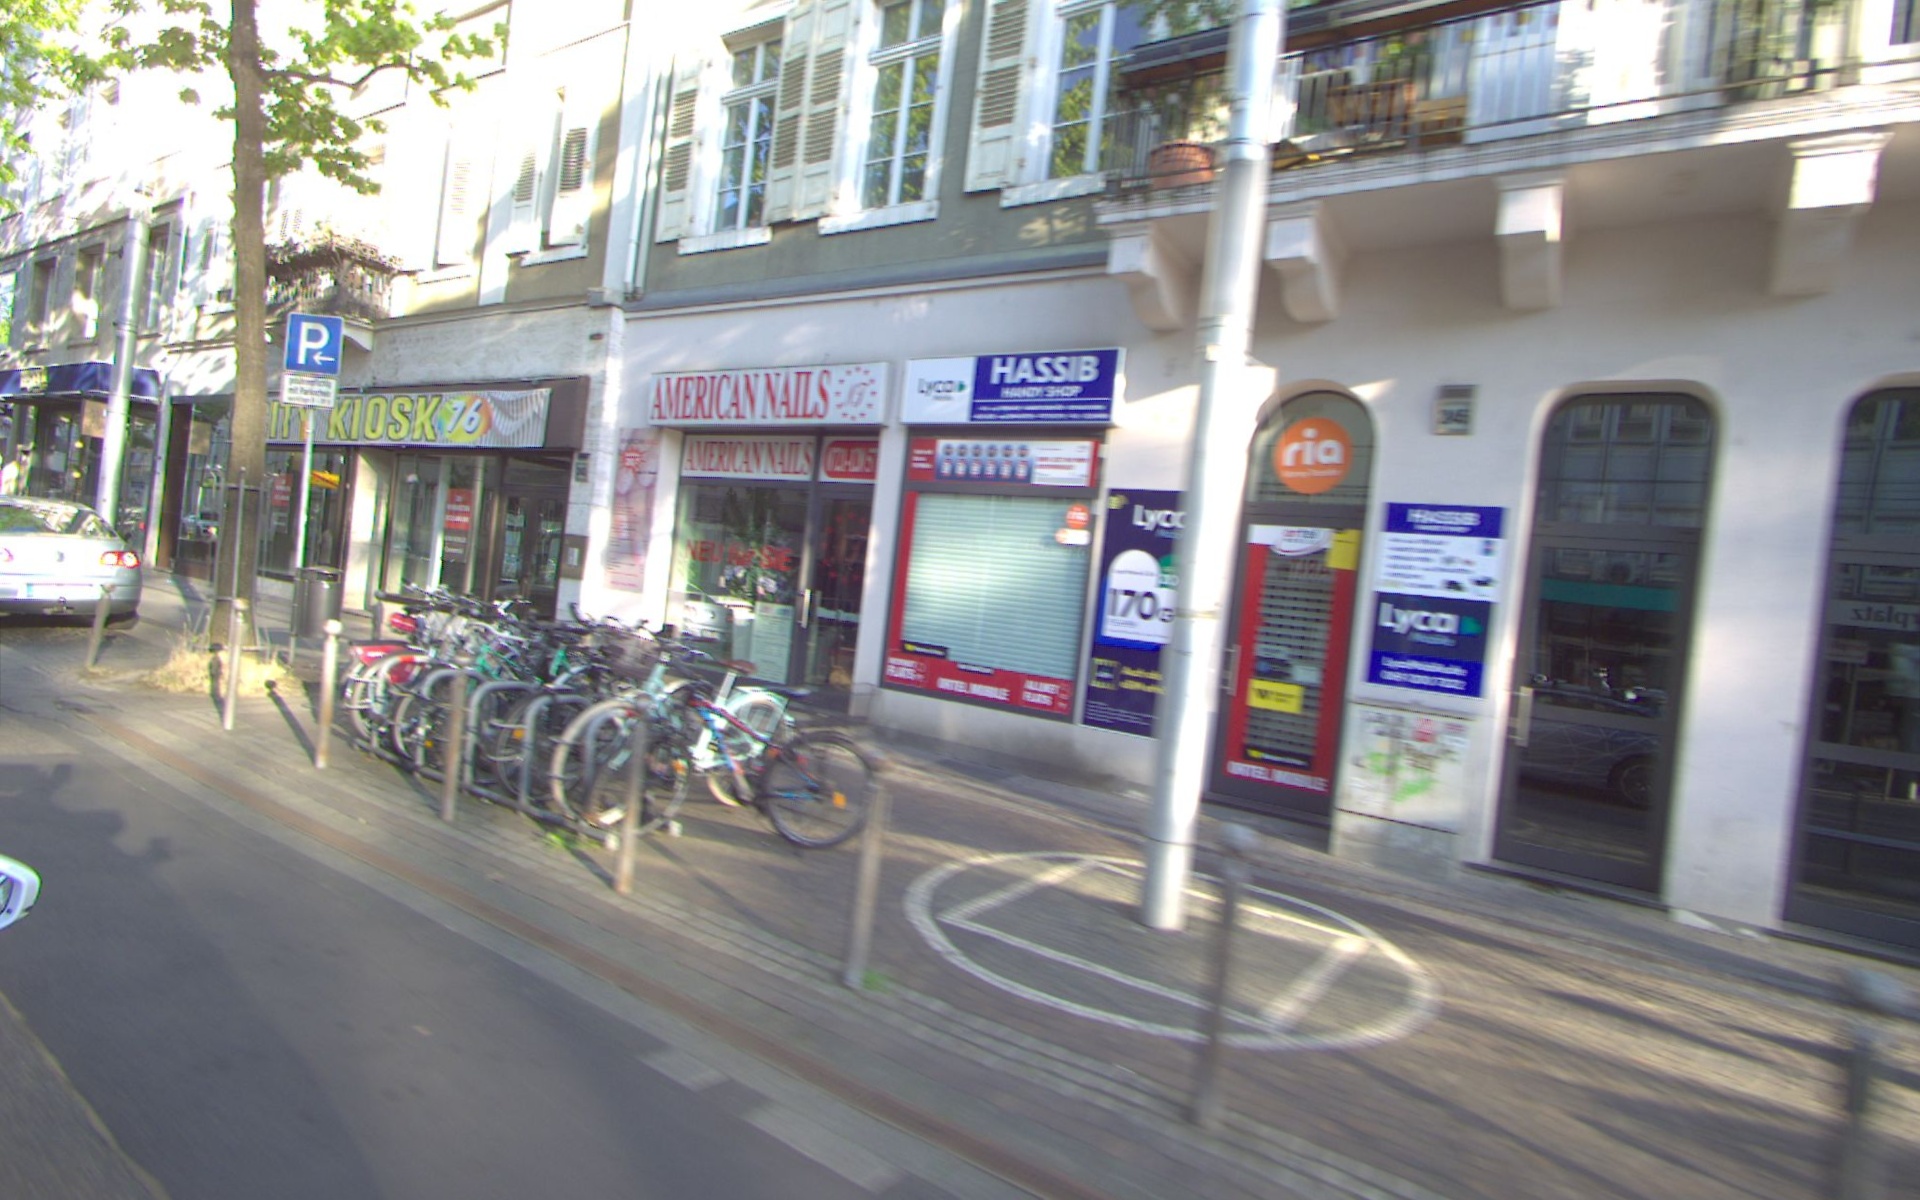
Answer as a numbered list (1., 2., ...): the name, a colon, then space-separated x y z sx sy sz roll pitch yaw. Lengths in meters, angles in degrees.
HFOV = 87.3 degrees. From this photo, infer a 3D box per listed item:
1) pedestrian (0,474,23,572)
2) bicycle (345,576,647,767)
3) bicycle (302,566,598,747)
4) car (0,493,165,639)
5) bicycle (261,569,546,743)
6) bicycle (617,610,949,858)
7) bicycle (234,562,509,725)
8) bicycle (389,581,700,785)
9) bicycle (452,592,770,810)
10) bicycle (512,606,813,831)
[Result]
1. pedestrian: -16.837 -1.363 17.336 0.743 1.665 0.802 8 3 34
2. bicycle: -3.264 0.514 7.265 0.553 1.169 1.866 7 0 36
3. bicycle: -3.766 0.438 7.595 0.553 1.169 1.866 7 0 36
4. car: -11.307 -0.516 11.926 4.352 1.460 1.774 6 3 35
5. bicycle: -4.283 0.402 7.887 0.553 1.170 1.864 7 3 36
6. bicycle: -0.957 0.733 5.618 1.652 1.169 0.461 6 1 -6
7. bicycle: -4.783 0.340 8.307 0.553 1.170 1.864 7 3 36
8. bicycle: -2.742 0.554 6.861 0.553 1.169 1.866 7 0 36
9. bicycle: -2.156 0.624 6.480 0.553 1.169 1.866 7 0 36
10. bicycle: -1.732 0.694 6.190 0.342 1.169 1.866 7 0 35
